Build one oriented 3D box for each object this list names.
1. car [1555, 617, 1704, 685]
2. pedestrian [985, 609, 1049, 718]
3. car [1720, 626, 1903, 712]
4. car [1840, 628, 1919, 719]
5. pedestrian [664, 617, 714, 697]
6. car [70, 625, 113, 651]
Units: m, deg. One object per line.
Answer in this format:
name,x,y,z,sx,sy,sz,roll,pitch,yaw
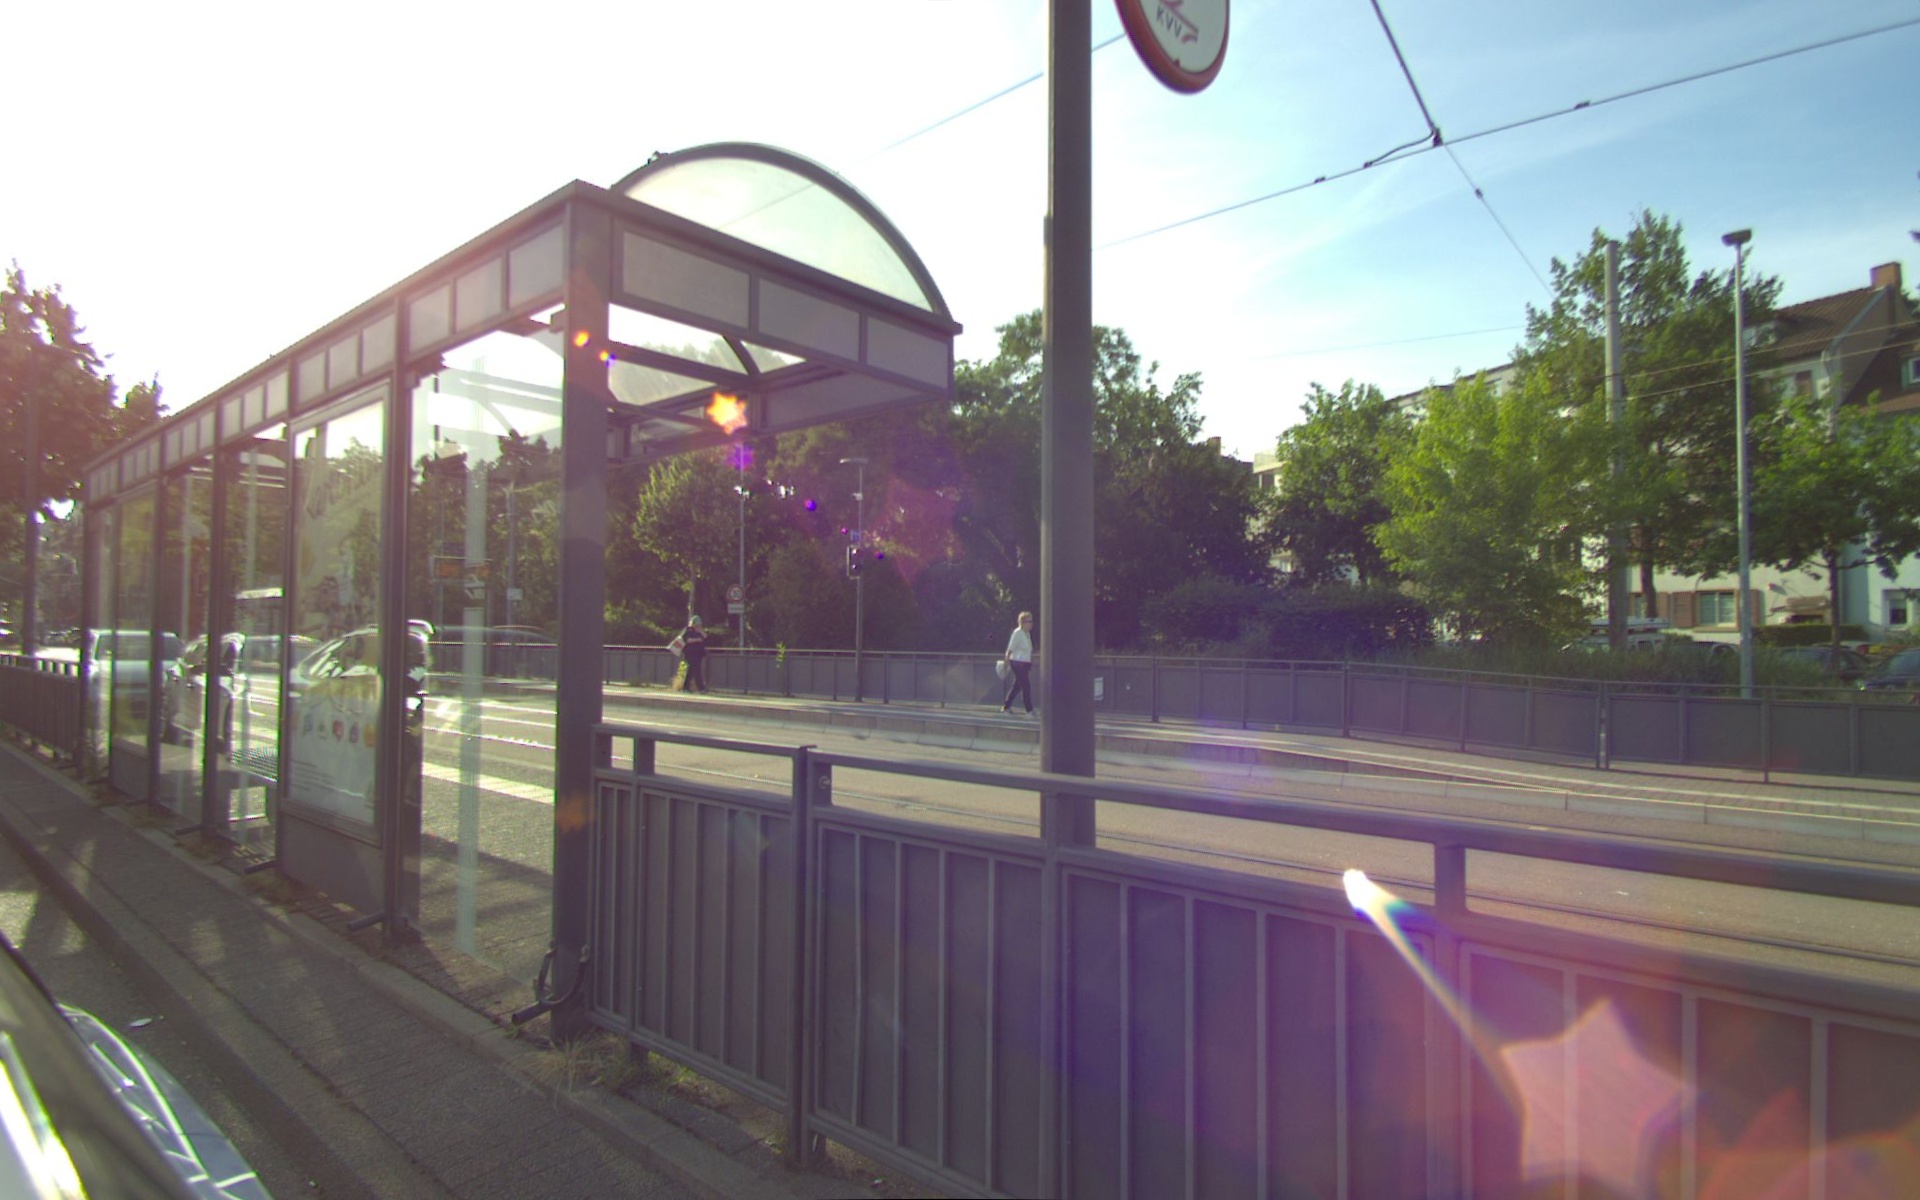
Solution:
car,18.454,1.395,27.882,3.931,1.767,1.860,2,-3,-30
pedestrian,0.893,0.969,15.738,0.727,1.640,0.699,-2,-3,41
car,18.999,1.490,22.563,3.931,1.767,1.860,2,-3,-30
car,20.211,1.495,20.911,3.931,1.767,1.860,2,-3,-30
pedestrian,-5.657,1.181,21.153,0.689,1.640,0.727,-2,-3,41
car,-69.226,3.028,80.671,3.997,2.029,1.973,-2,-3,41
